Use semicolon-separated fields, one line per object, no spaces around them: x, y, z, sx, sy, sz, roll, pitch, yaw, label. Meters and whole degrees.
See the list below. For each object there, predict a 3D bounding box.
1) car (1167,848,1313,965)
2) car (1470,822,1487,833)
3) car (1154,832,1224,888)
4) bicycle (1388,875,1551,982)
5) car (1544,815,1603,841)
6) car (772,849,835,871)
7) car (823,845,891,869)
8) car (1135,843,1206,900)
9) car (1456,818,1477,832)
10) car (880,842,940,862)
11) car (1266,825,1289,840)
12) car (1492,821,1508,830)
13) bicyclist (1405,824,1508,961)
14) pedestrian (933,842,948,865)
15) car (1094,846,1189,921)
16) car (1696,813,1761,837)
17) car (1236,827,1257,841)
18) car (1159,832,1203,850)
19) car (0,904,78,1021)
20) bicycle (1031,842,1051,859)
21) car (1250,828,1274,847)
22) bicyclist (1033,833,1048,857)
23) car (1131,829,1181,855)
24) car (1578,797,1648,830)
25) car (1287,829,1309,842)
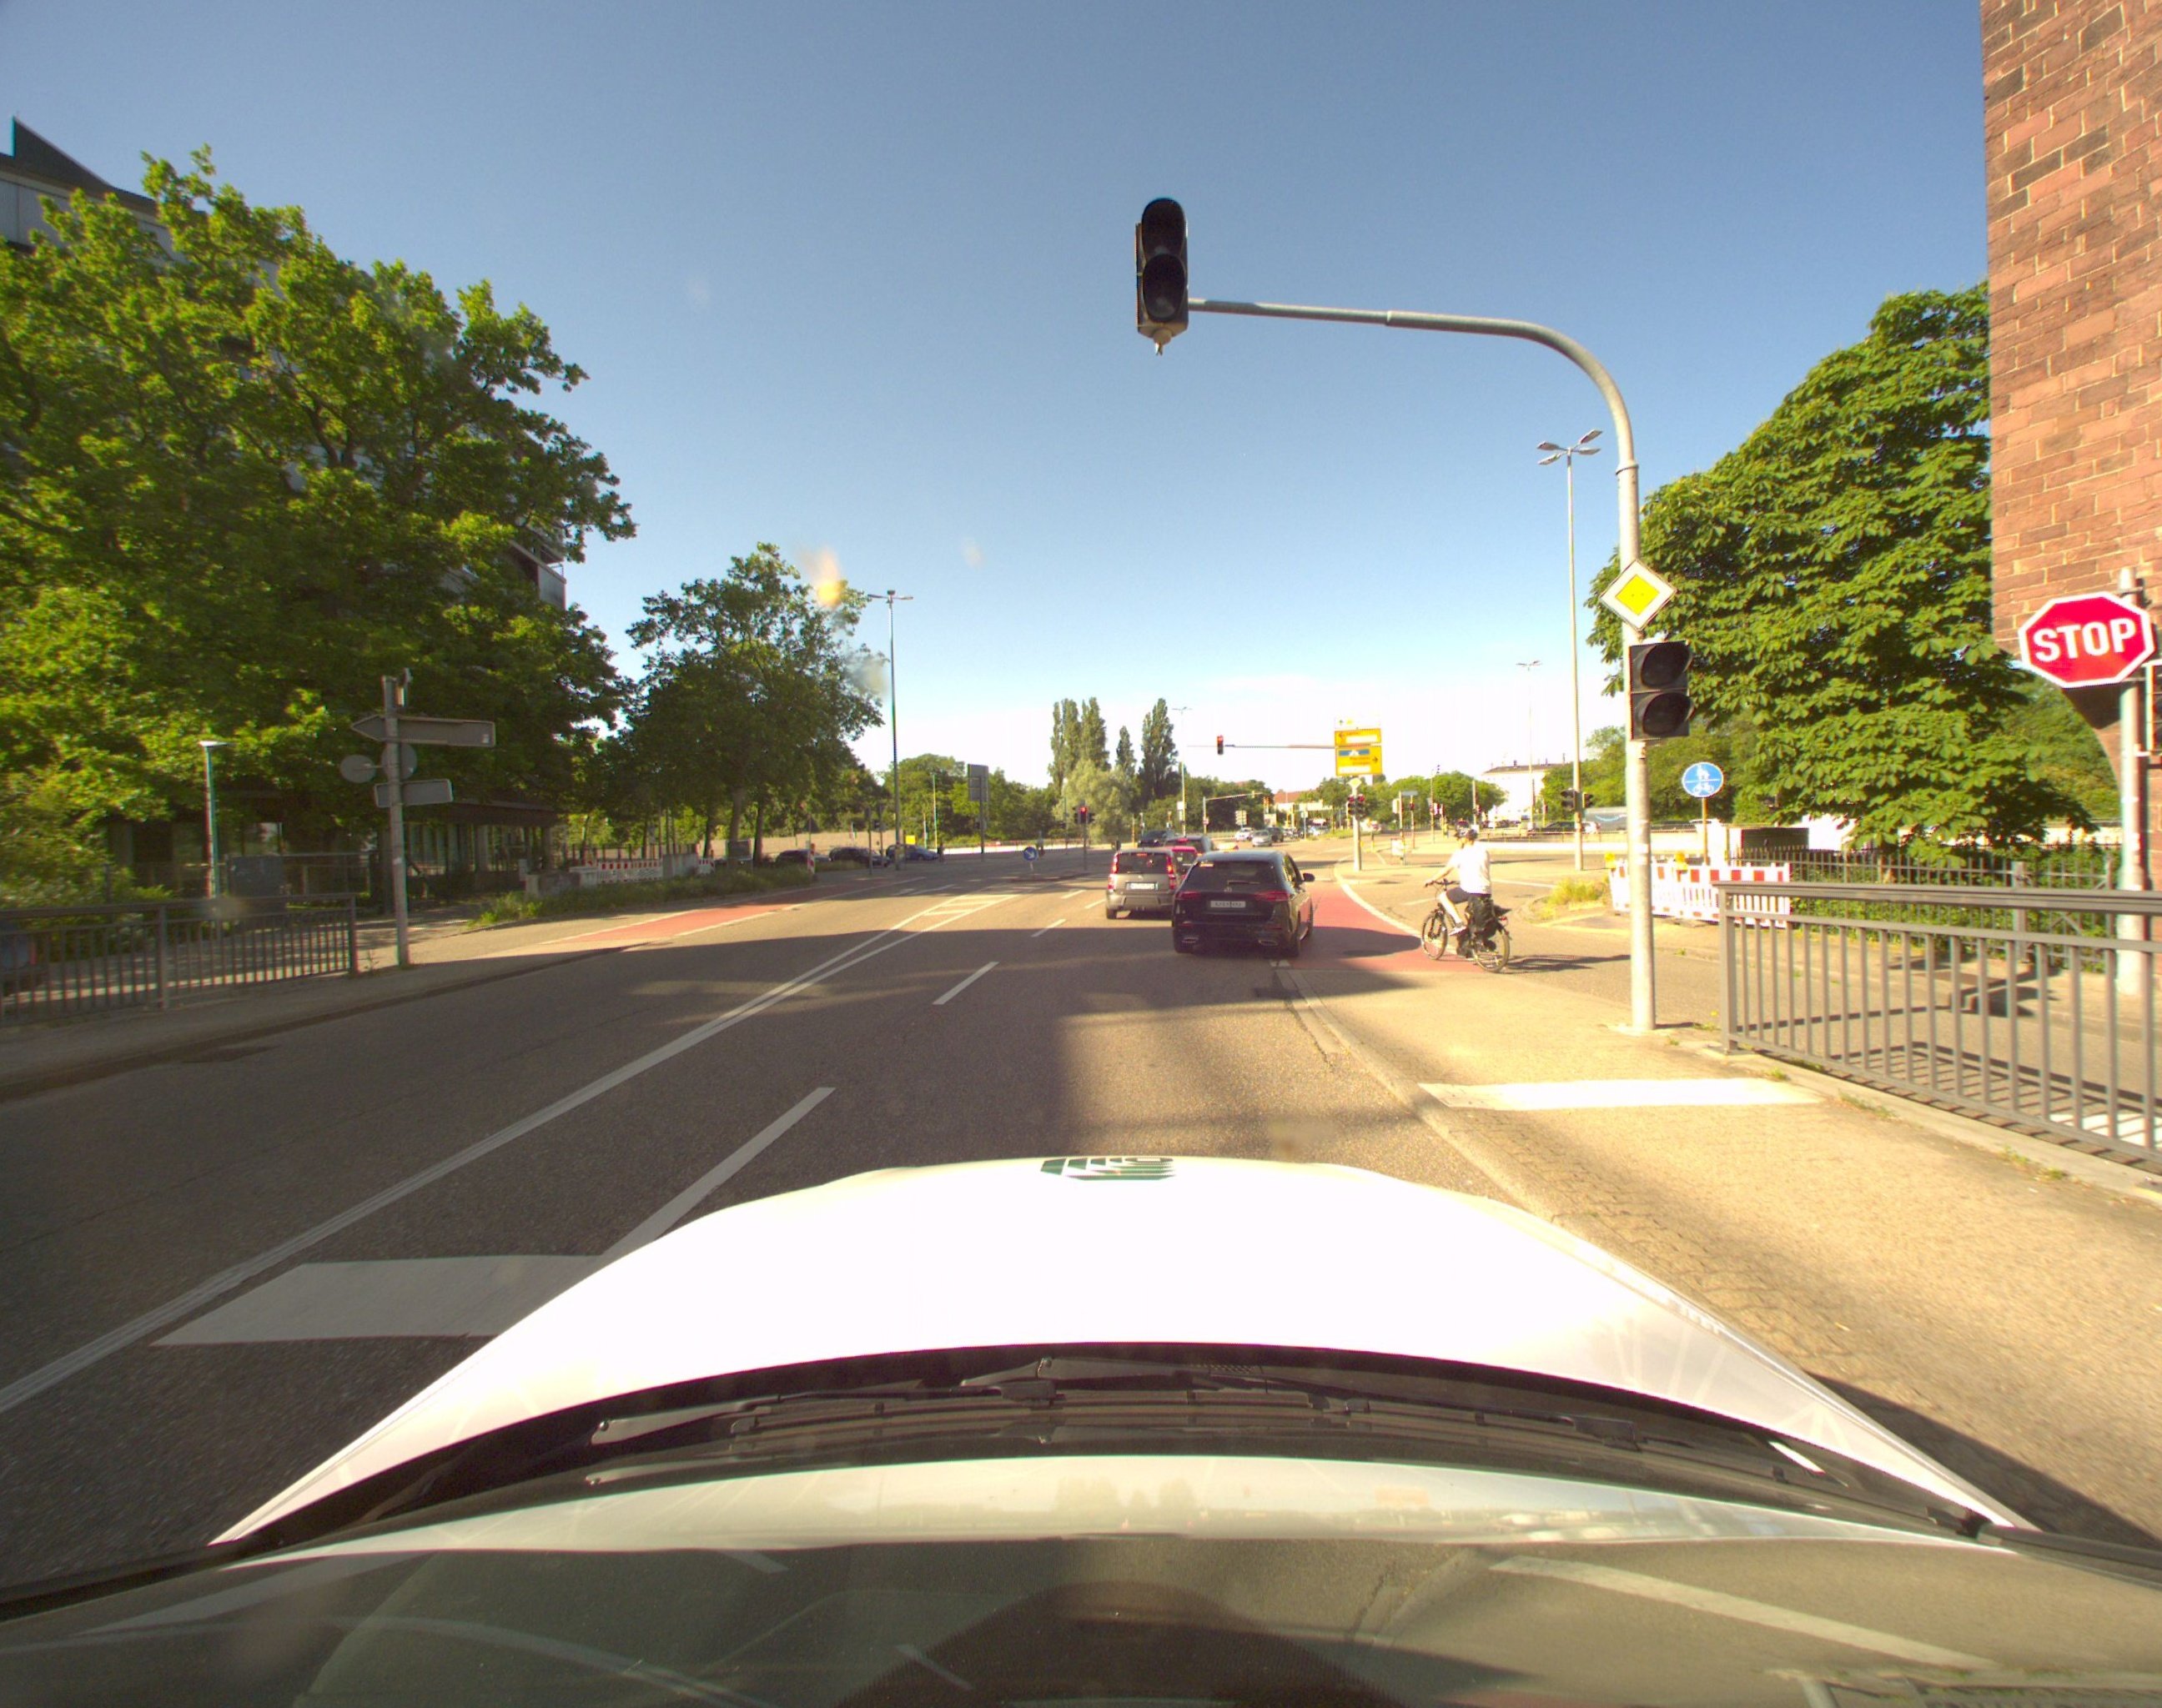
2.683;0.674;12.977;1.736;1.493;4.020;1;1;19;car
66.430;-4.455;136.021;1.974;1.793;4.026;-2;1;32;car
3.946;0.139;29.076;1.854;1.790;4.433;0;2;16;car
4.963;0.891;10.639;0.798;1.110;2.397;0;1;-6;bicycle
42.037;-2.190;69.589;2.012;2.014;3.950;1;-1;-45;car
-20.297;0.467;59.529;4.394;1.438;1.837;-2;1;29;car
-15.302;0.210;55.524;4.394;1.438;1.837;-2;1;29;car
2.692;0.435;23.697;1.809;1.479;4.011;-1;1;9;car
56.256;-4.233;118.844;1.974;1.794;4.025;-1;-1;36;car
-13.699;-0.134;65.357;4.396;1.438;1.837;-2;1;25;car
20.946;-2.296;86.834;1.708;1.582;4.026;-1;1;23;car
78.409;-5.324;152.331;1.974;1.640;4.026;-2;1;35;car
4.944;0.471;10.782;0.798;1.705;1.083;0;1;-6;bicyclist
-9.899;-0.035;57.303;0.683;1.538;1.367;-1;-4;5;pedestrian
1.493;0.592;18.708;1.809;1.489;4.011;-1;1;9;car
53.546;-2.335;67.379;2.012;1.750;3.950;0;-1;-45;car
19.972;-2.432;98.208;1.818;1.653;4.652;-2;1;19;car
9.449;-1.249;76.554;1.803;1.503;4.479;-1;2;42;car
-15.380;1.555;9.497;1.815;1.503;4.449;-2;1;-1;car
-2.952;-0.268;60.586;0.681;1.202;2.338;-1;2;17;bicycle
16.699;-1.530;75.096;1.806;1.582;4.122;-2;1;16;car
-3.010;-0.682;60.429;0.681;1.701;1.203;-1;2;17;bicyclist
6.008;-0.965;64.685;1.974;1.935;4.883;-1;1;30;car
48.346;-3.639;74.067;2.269;2.607;4.837;0;-1;-32;car
26.450;-2.210;99.140;1.976;1.453;4.023;-2;1;24;car
